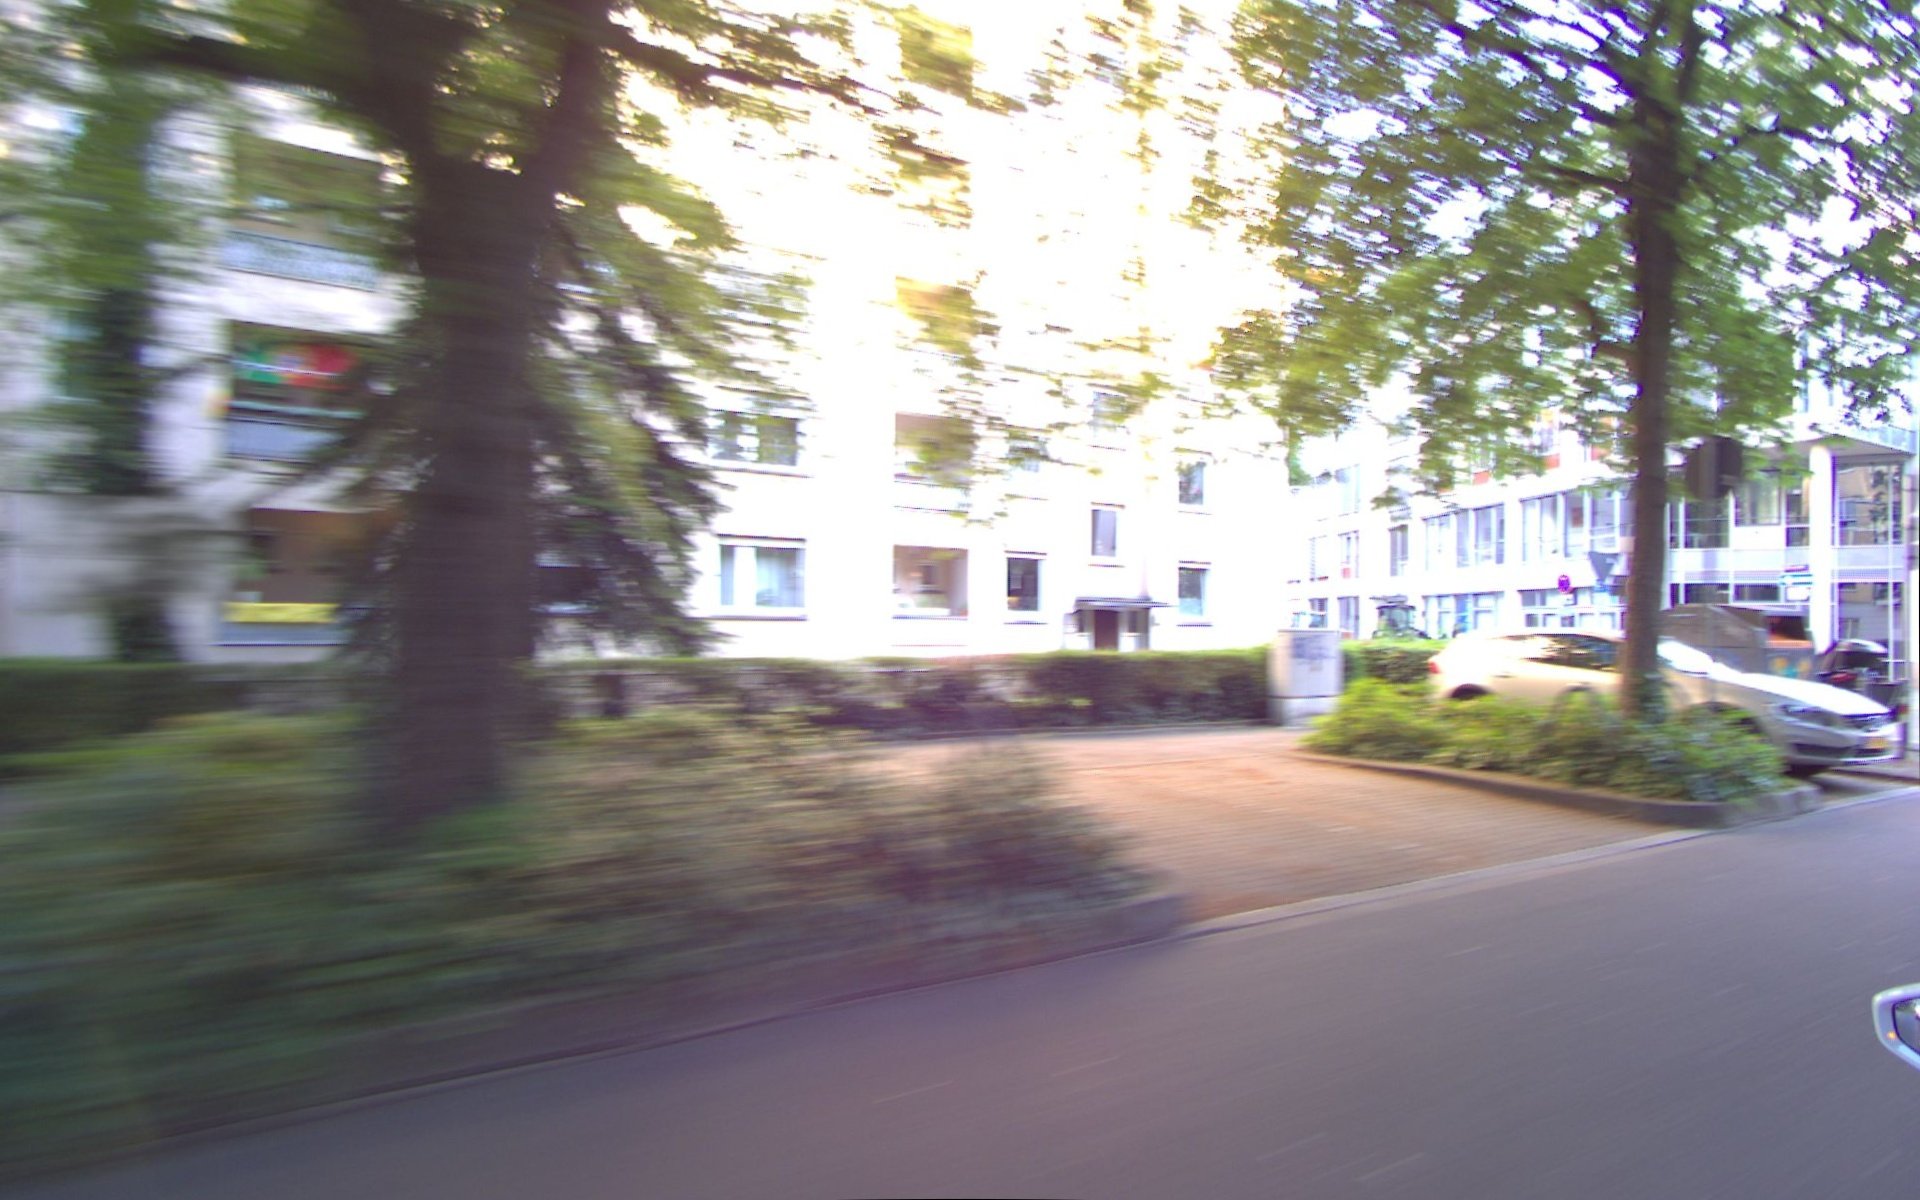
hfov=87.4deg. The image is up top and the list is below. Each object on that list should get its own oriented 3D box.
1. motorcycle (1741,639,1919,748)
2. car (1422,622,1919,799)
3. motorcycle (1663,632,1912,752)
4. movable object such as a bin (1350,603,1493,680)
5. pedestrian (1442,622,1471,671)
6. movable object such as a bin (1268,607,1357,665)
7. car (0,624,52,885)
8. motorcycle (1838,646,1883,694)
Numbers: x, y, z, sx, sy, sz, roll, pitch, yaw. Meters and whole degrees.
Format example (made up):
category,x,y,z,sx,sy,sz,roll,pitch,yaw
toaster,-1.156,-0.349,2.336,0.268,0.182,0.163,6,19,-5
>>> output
category,x,y,z,sx,sy,sz,roll,pitch,yaw
motorcycle,12.720,1.313,14.726,0.835,1.439,2.255,1,-2,1
car,8.031,1.074,11.640,2.049,1.573,4.602,2,-1,-27
motorcycle,11.041,1.161,13.532,0.899,1.439,2.444,2,-2,-27
movable object such as a bin,17.410,1.543,38.306,2.242,2.728,5.641,1,-1,-9
pedestrian,19.329,1.811,39.133,0.872,1.875,0.876,0,-1,17
movable object such as a bin,16.363,1.679,46.835,2.242,2.574,4.092,1,-1,-9
car,-5.499,0.822,3.992,1.857,1.448,4.268,1,-2,-29
motorcycle,23.795,1.835,26.519,2.289,1.187,0.551,2,-2,-40
